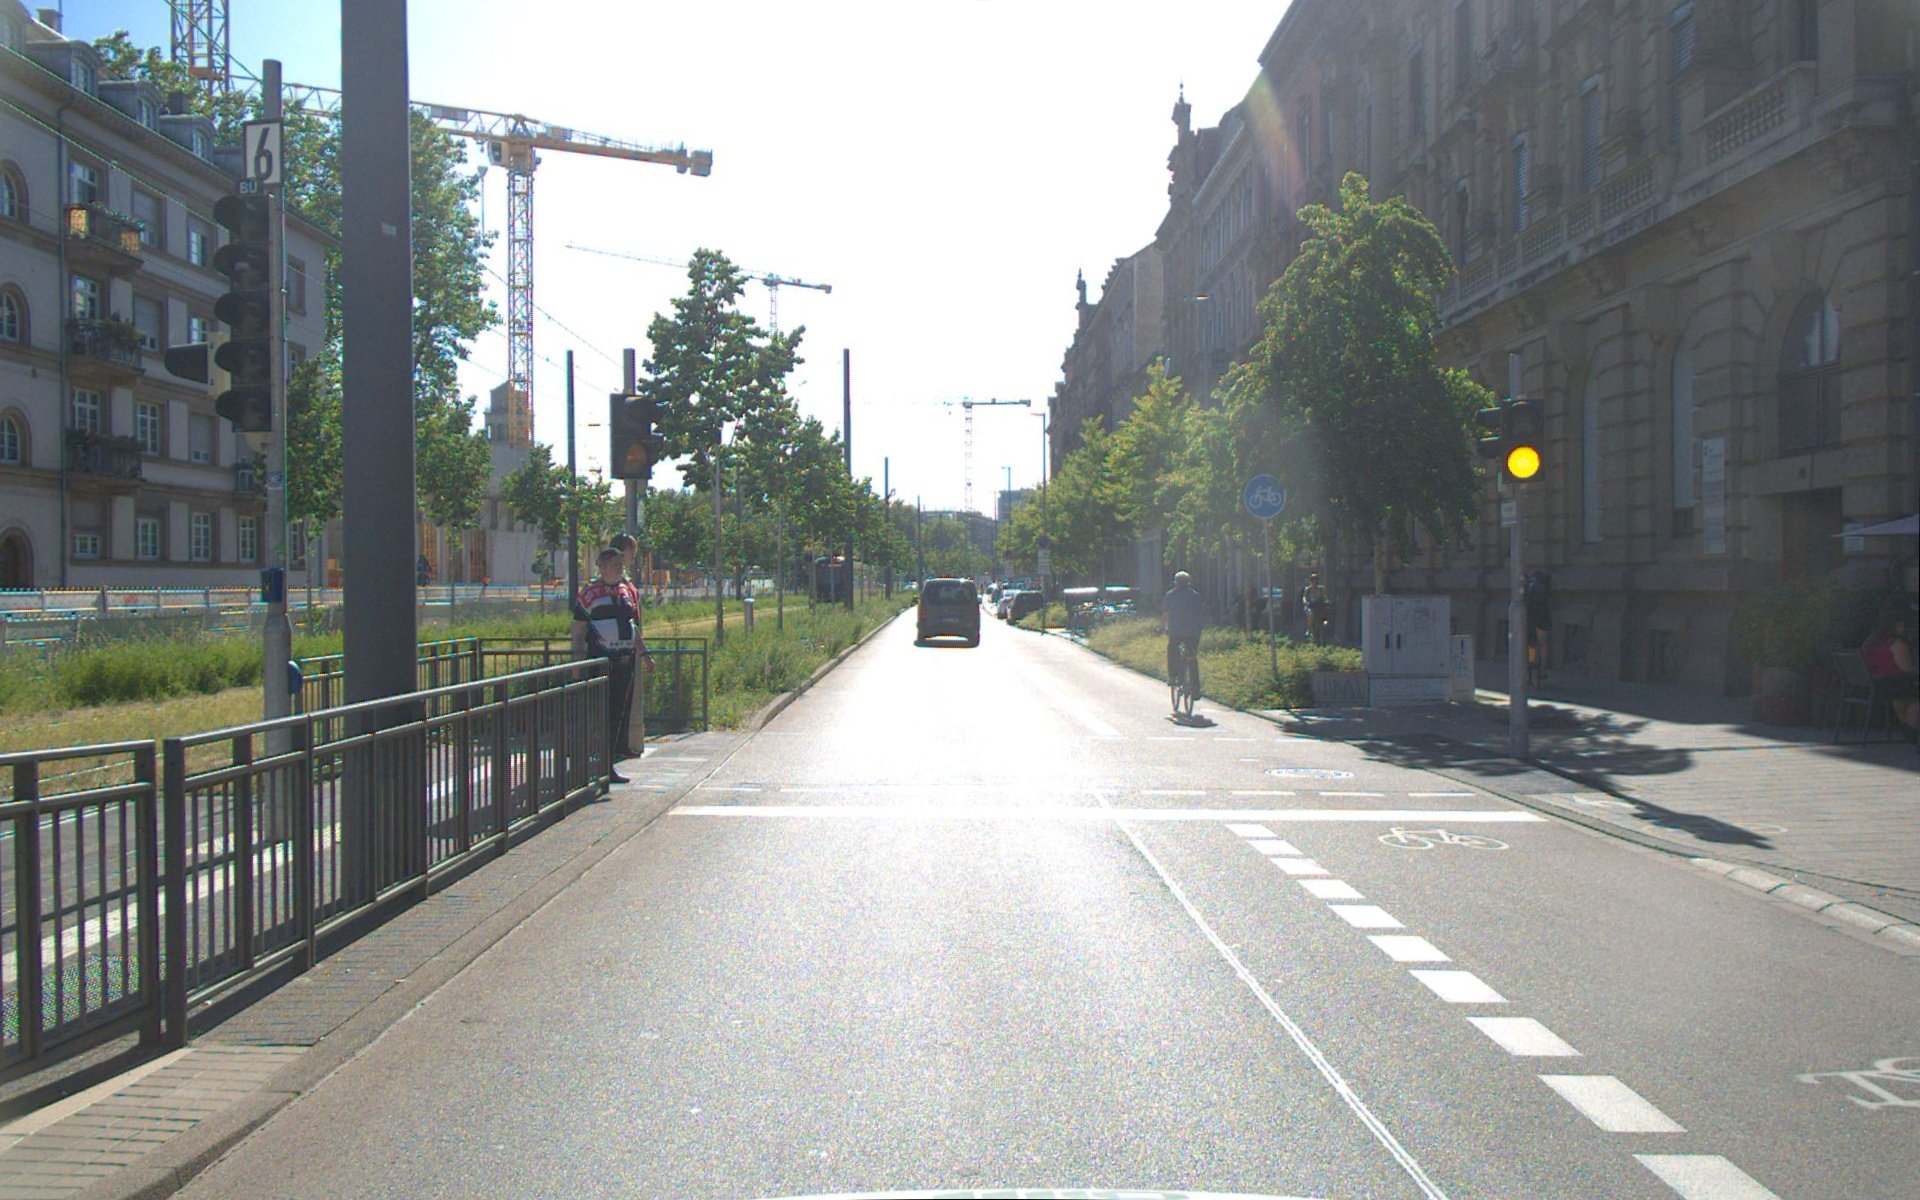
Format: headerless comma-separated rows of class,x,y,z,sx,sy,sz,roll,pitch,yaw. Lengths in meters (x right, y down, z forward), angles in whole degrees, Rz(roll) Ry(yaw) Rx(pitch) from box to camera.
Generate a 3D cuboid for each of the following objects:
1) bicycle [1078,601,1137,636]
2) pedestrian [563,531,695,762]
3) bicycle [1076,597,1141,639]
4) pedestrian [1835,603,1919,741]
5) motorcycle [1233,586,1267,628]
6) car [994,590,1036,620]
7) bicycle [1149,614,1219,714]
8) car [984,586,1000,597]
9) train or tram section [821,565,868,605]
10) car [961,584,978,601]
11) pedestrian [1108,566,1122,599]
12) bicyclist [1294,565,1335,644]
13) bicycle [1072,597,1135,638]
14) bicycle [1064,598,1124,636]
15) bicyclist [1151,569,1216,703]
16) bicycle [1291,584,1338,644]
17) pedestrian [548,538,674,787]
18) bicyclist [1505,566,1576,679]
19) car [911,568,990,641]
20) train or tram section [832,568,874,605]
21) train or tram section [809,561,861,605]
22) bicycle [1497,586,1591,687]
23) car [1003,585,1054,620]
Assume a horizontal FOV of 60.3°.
bicycle,4.509,0.559,50.554,1.756,1.048,0.527,-1,0,-2
pedestrian,-2.861,0.386,14.383,1.055,1.942,0.652,-1,0,-8
bicycle,4.276,0.518,47.666,1.757,1.048,0.527,-5,0,-1
pedestrian,8.529,0.645,15.102,0.691,1.198,0.635,-2,0,-1
motorcycle,9.135,0.202,52.211,0.686,1.289,1.981,-1,1,-1
car,2.904,0.254,87.738,1.987,1.525,4.529,-1,0,-1
bicycle,2.915,0.813,21.677,0.589,1.201,1.869,1,0,-2
car,4.382,-1.168,229.478,1.987,1.525,4.330,-1,0,-1
train or tram section,-8.442,-1.066,121.882,2.699,2.790,9.863,1,0,0
car,1.087,-0.883,193.166,1.953,1.870,3.999,1,0,-1
pedestrian,7.817,-0.893,83.294,0.601,1.640,0.669,-1,0,-1
bicyclist,7.679,0.089,35.808,0.653,1.668,0.960,-1,0,-1
bicycle,4.246,0.522,49.040,1.757,1.048,0.527,-5,0,-1
bicycle,4.204,0.533,51.924,1.757,1.048,0.527,-5,0,-1
bicyclist,2.915,0.458,21.671,0.670,1.702,0.922,1,0,-2
bicycle,7.665,0.286,35.803,0.571,1.244,1.899,0,1,-1
pedestrian,-2.645,0.457,12.643,0.848,1.819,0.969,0,0,-7
bicyclist,8.461,0.317,24.118,0.647,1.556,0.801,-5,0,0
car,-0.310,0.113,47.788,2.155,1.960,4.653,-1,0,-1
train or tram section,-8.443,-1.033,131.708,2.699,2.790,9.863,1,0,0
train or tram section,-8.413,-1.100,112.035,2.699,2.790,9.863,1,0,0
bicycle,8.462,0.506,24.052,0.603,1.353,1.900,-5,1,0
car,3.087,0.083,75.389,1.987,1.525,4.653,-1,0,-1
